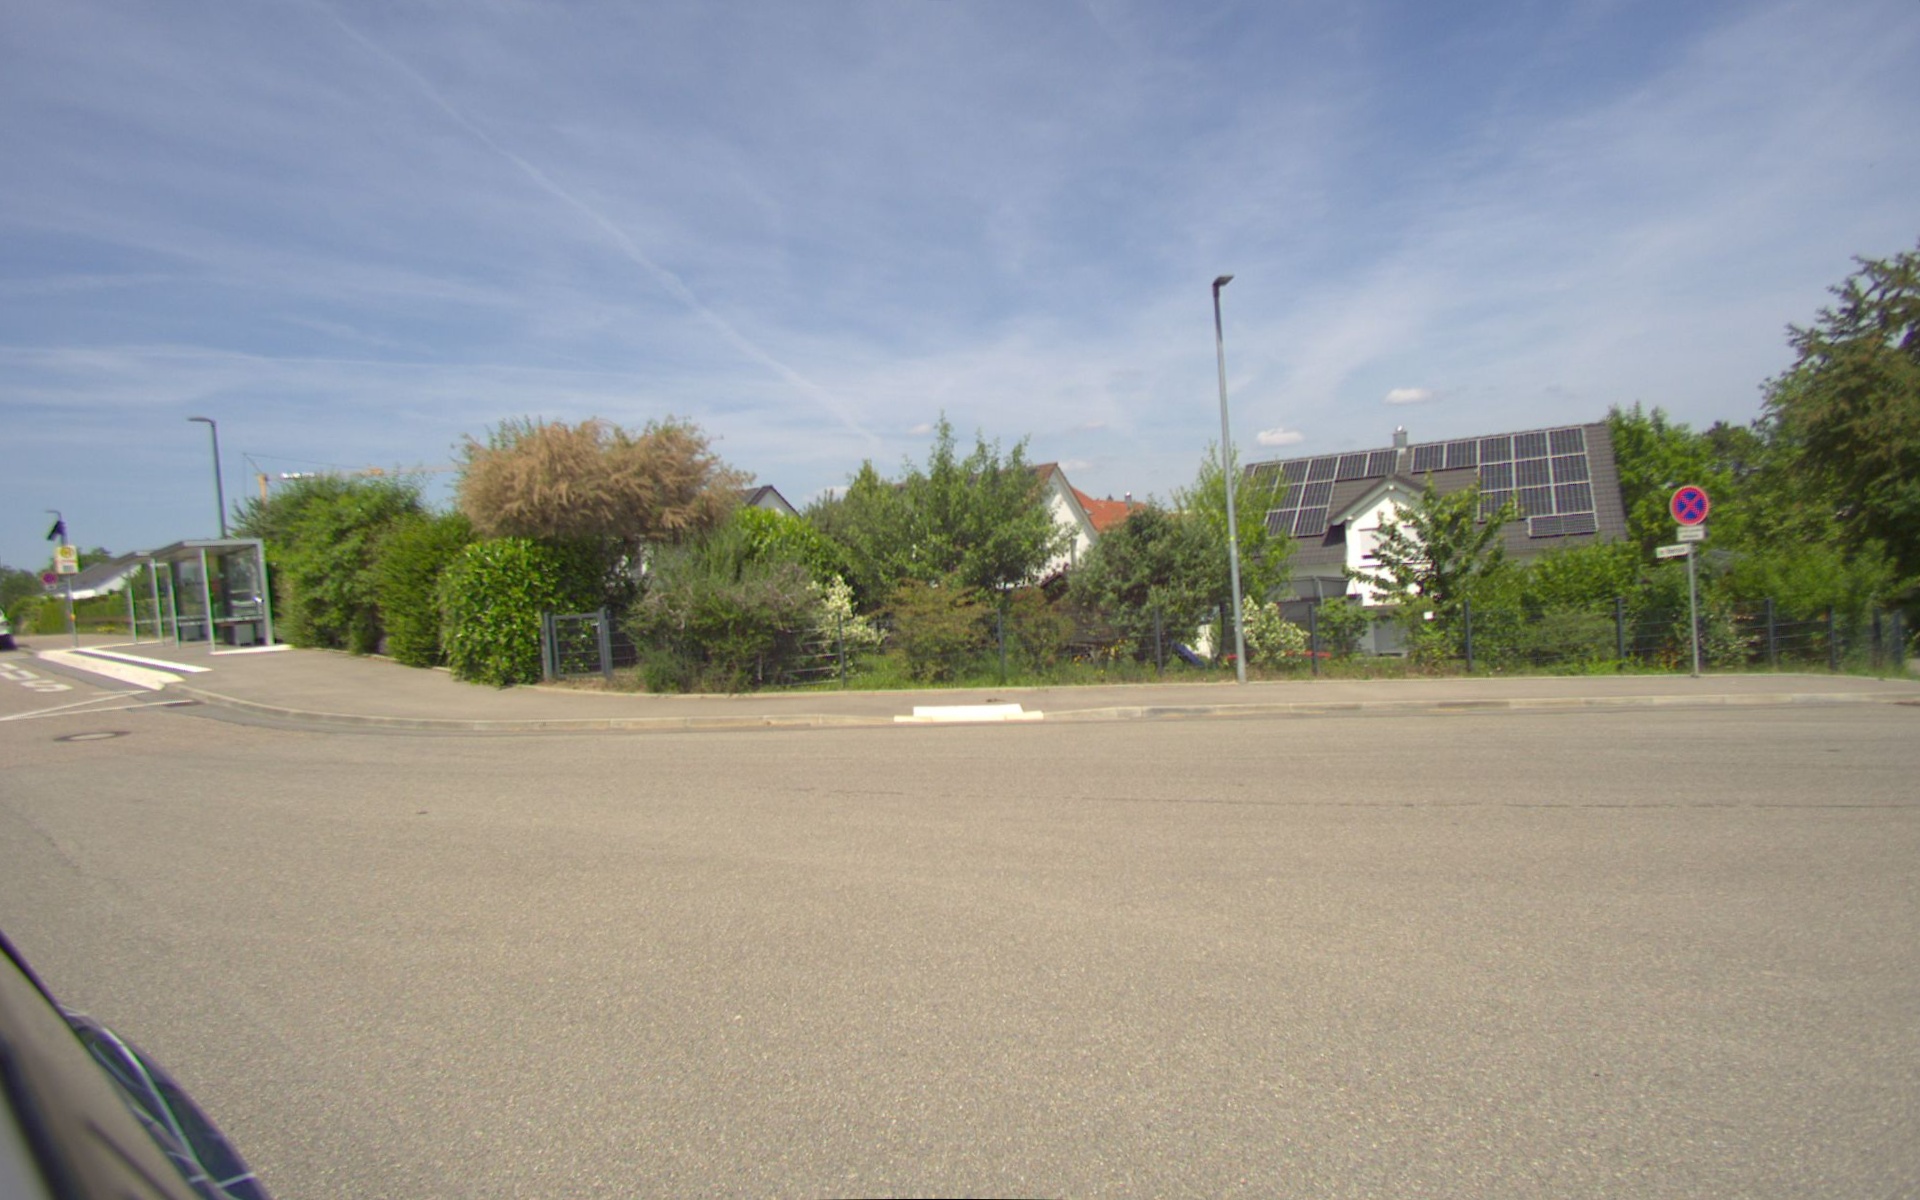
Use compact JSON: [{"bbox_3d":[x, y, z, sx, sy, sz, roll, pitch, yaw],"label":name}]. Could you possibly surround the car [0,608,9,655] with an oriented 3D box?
[{"bbox_3d":[-35.818,1.195,36.540,4.351,1.645,1.716,-1,2,42],"label":"car"}]
